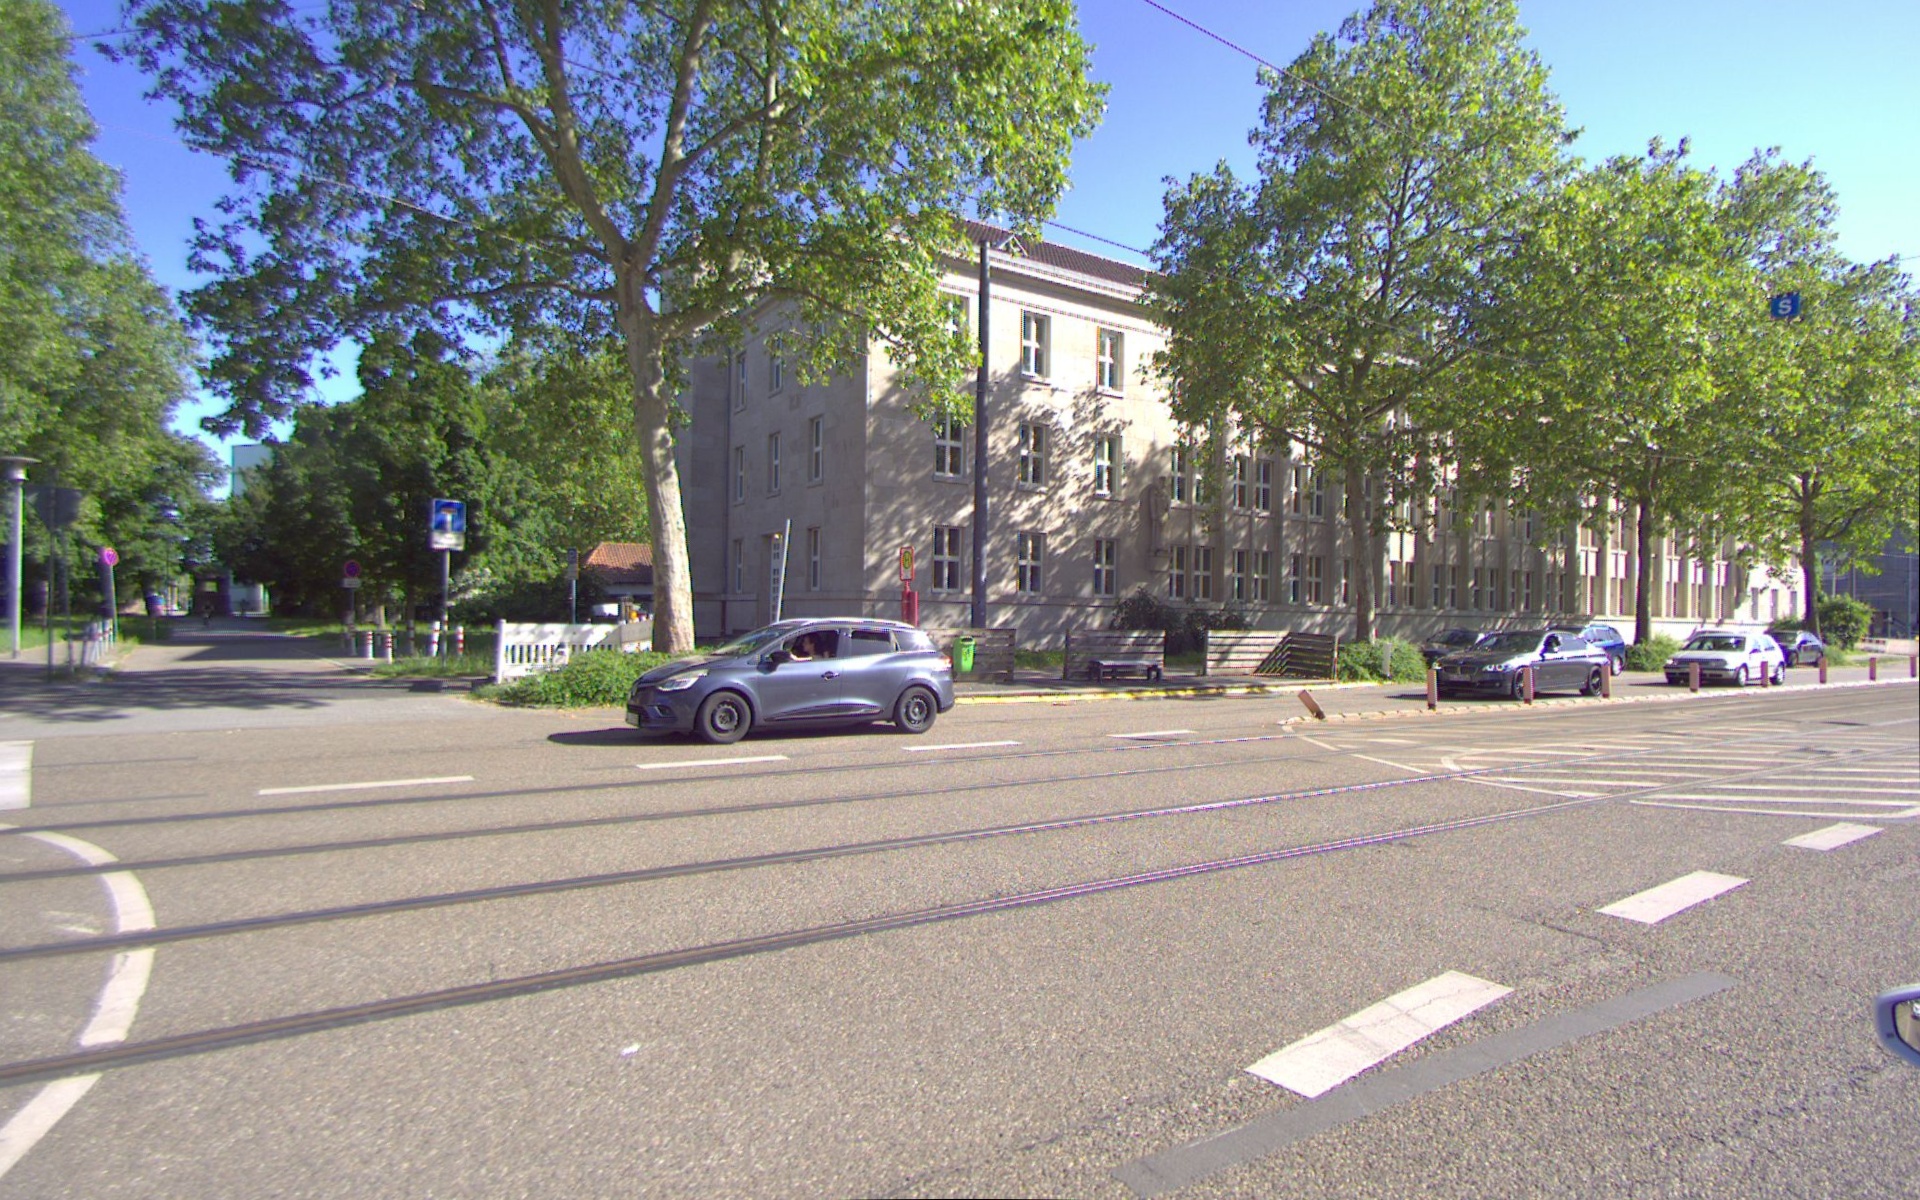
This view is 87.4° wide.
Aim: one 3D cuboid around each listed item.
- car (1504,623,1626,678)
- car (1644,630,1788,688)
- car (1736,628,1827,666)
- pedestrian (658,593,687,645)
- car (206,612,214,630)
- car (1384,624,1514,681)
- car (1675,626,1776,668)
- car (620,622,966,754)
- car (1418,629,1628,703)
[{"bbox_3d":[19.664,1.596,32.597,4.352,1.661,1.818,1,-1,-36],"label":"car"},{"bbox_3d":[20.790,1.564,27.592,4.124,1.472,1.820,1,-2,-32],"label":"car"},{"bbox_3d":[34.961,1.985,42.722,4.135,1.512,1.820,1,-1,-32],"label":"car"},{"bbox_3d":[-10.876,0.724,38.019,0.891,1.921,0.806,1,-1,-28],"label":"pedestrian"},{"bbox_3d":[-48.532,1.352,65.005,0.390,1.165,1.273,1,-1,-37],"label":"car"},{"bbox_3d":[14.485,1.516,29.684,4.148,1.568,1.661,1,-1,-35],"label":"car"},{"bbox_3d":[30.574,1.850,40.093,4.347,1.608,1.820,1,-2,-32],"label":"car"},{"bbox_3d":[-2.033,1.016,12.738,4.045,1.430,1.606,1,-2,-34],"label":"car"},{"bbox_3d":[12.498,1.399,22.223,4.902,1.472,1.821,1,-2,-30],"label":"car"}]
